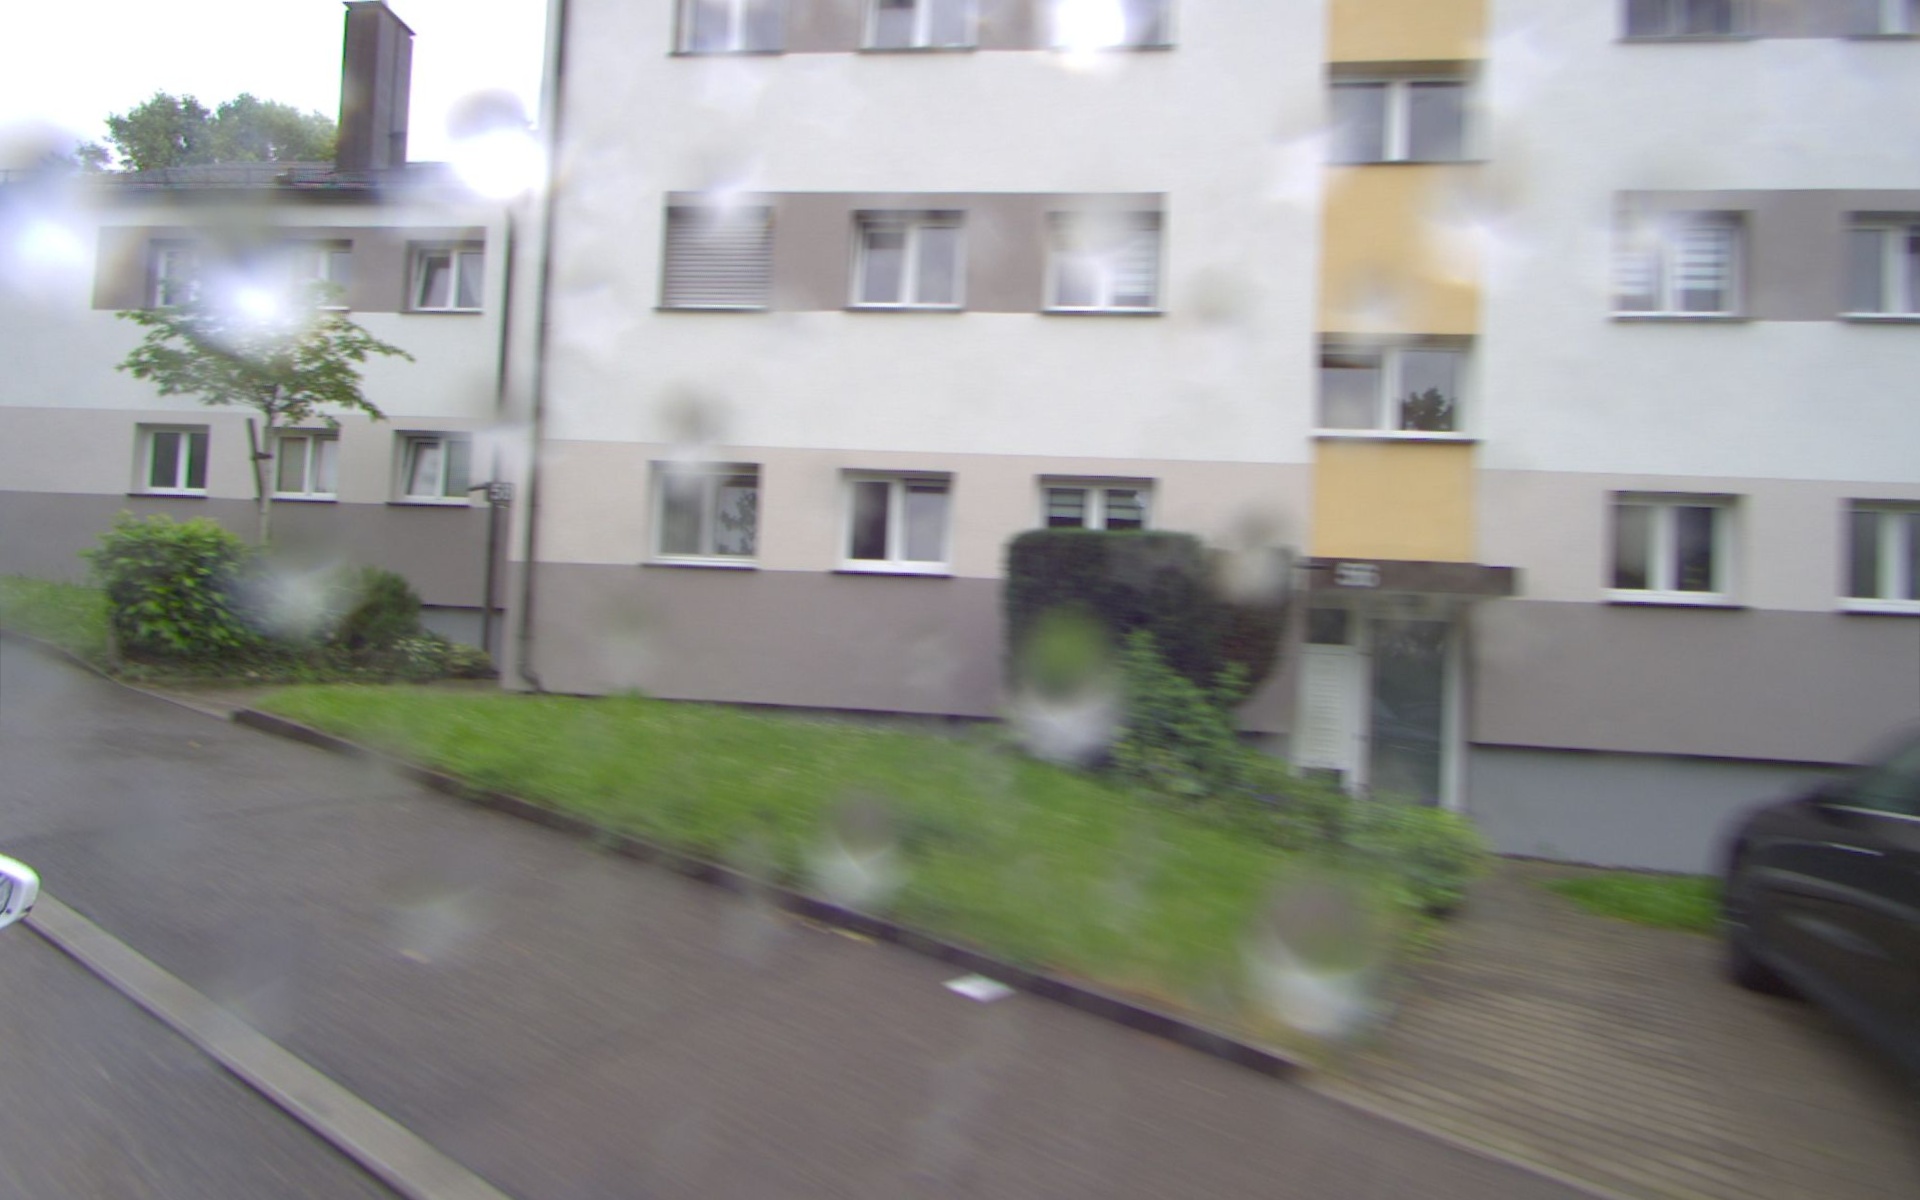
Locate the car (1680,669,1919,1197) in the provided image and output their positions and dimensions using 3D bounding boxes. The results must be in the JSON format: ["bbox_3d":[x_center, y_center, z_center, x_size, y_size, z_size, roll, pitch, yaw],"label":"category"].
[{"bbox_3d":[4.417,1.235,3.741,1.823,1.681,4.537,7,0,25],"label":"car"}]
